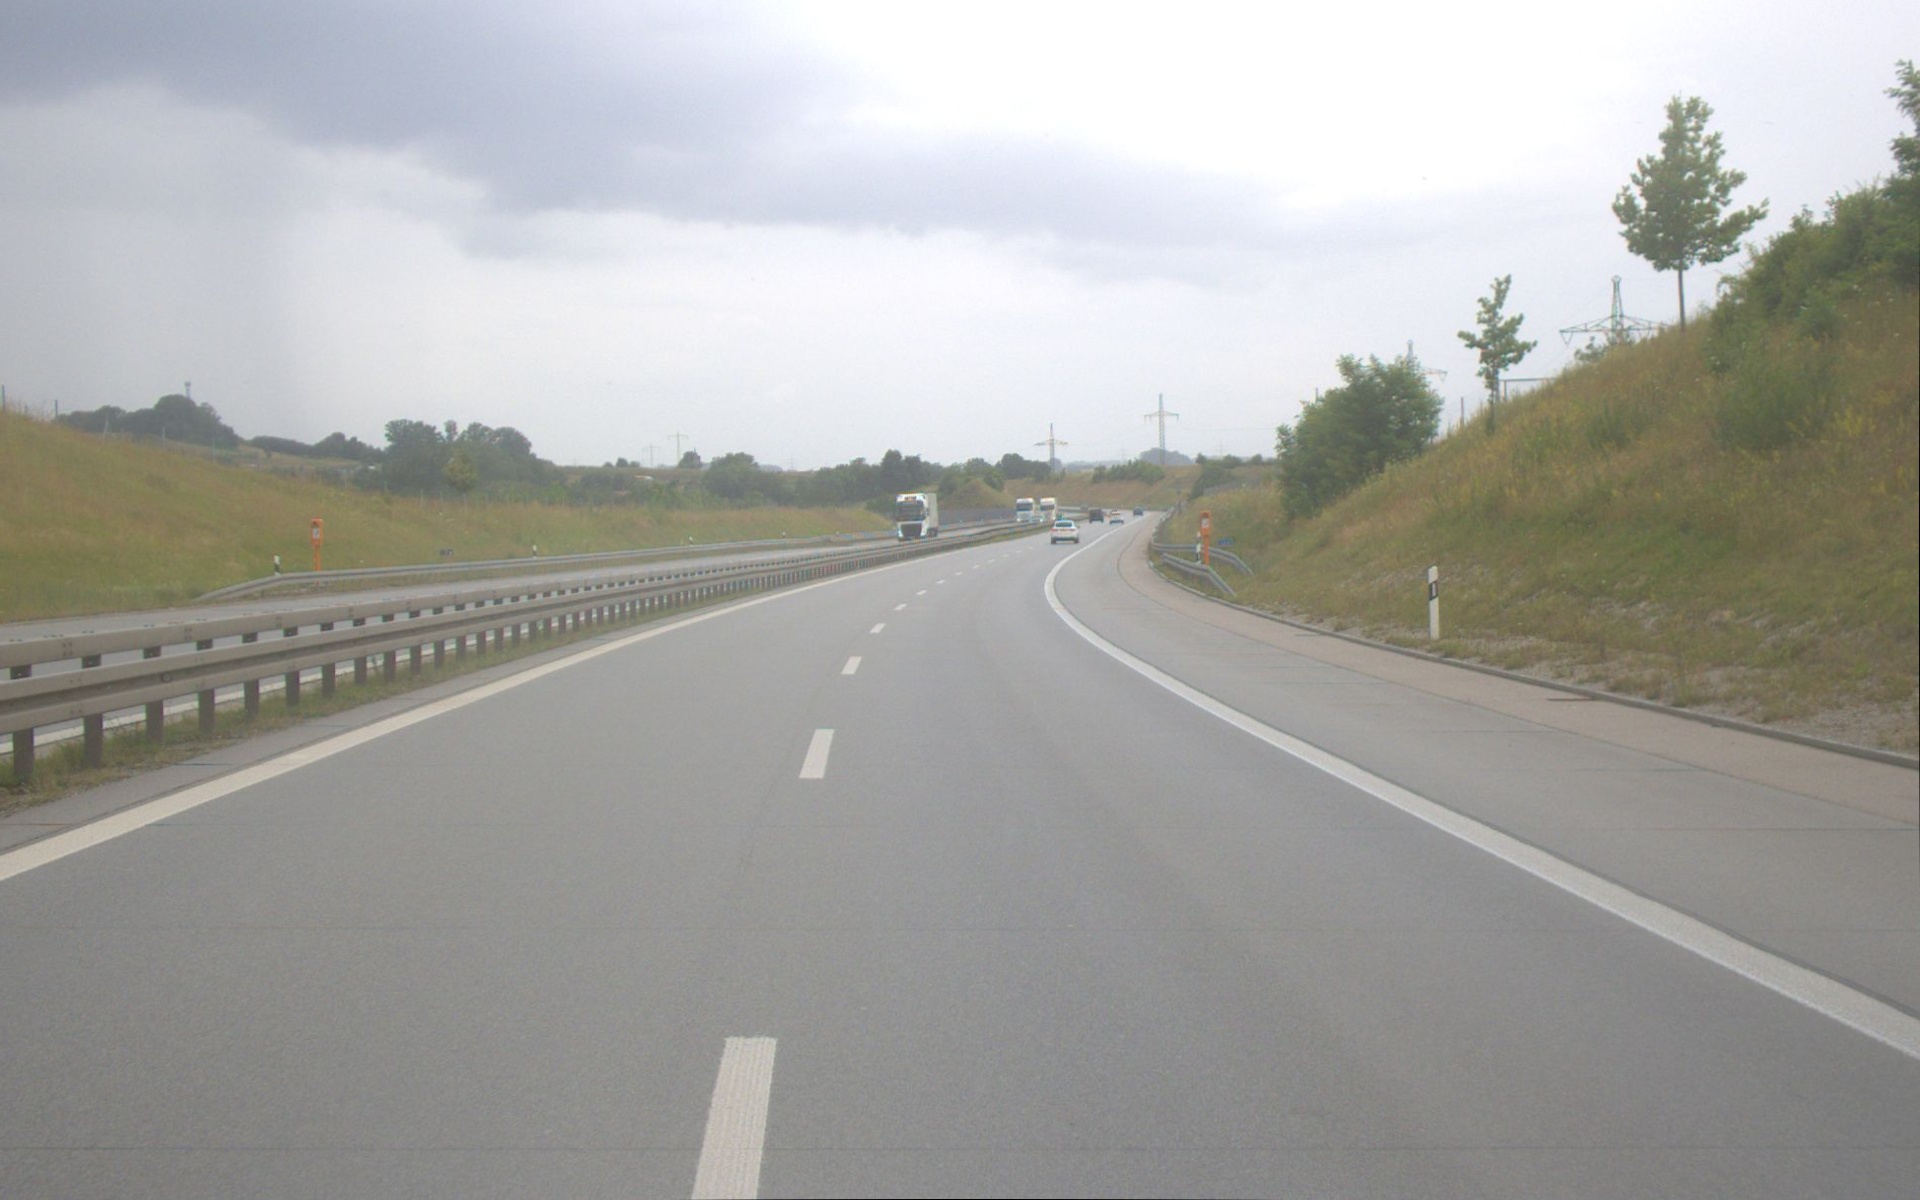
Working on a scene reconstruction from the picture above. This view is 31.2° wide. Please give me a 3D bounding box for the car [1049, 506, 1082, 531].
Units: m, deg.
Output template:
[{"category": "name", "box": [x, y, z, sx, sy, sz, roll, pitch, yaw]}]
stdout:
[{"category": "car", "box": [7.400, -5.681, 240.706, 1.957, 1.645, 3.999, -1, 1, 7]}]
